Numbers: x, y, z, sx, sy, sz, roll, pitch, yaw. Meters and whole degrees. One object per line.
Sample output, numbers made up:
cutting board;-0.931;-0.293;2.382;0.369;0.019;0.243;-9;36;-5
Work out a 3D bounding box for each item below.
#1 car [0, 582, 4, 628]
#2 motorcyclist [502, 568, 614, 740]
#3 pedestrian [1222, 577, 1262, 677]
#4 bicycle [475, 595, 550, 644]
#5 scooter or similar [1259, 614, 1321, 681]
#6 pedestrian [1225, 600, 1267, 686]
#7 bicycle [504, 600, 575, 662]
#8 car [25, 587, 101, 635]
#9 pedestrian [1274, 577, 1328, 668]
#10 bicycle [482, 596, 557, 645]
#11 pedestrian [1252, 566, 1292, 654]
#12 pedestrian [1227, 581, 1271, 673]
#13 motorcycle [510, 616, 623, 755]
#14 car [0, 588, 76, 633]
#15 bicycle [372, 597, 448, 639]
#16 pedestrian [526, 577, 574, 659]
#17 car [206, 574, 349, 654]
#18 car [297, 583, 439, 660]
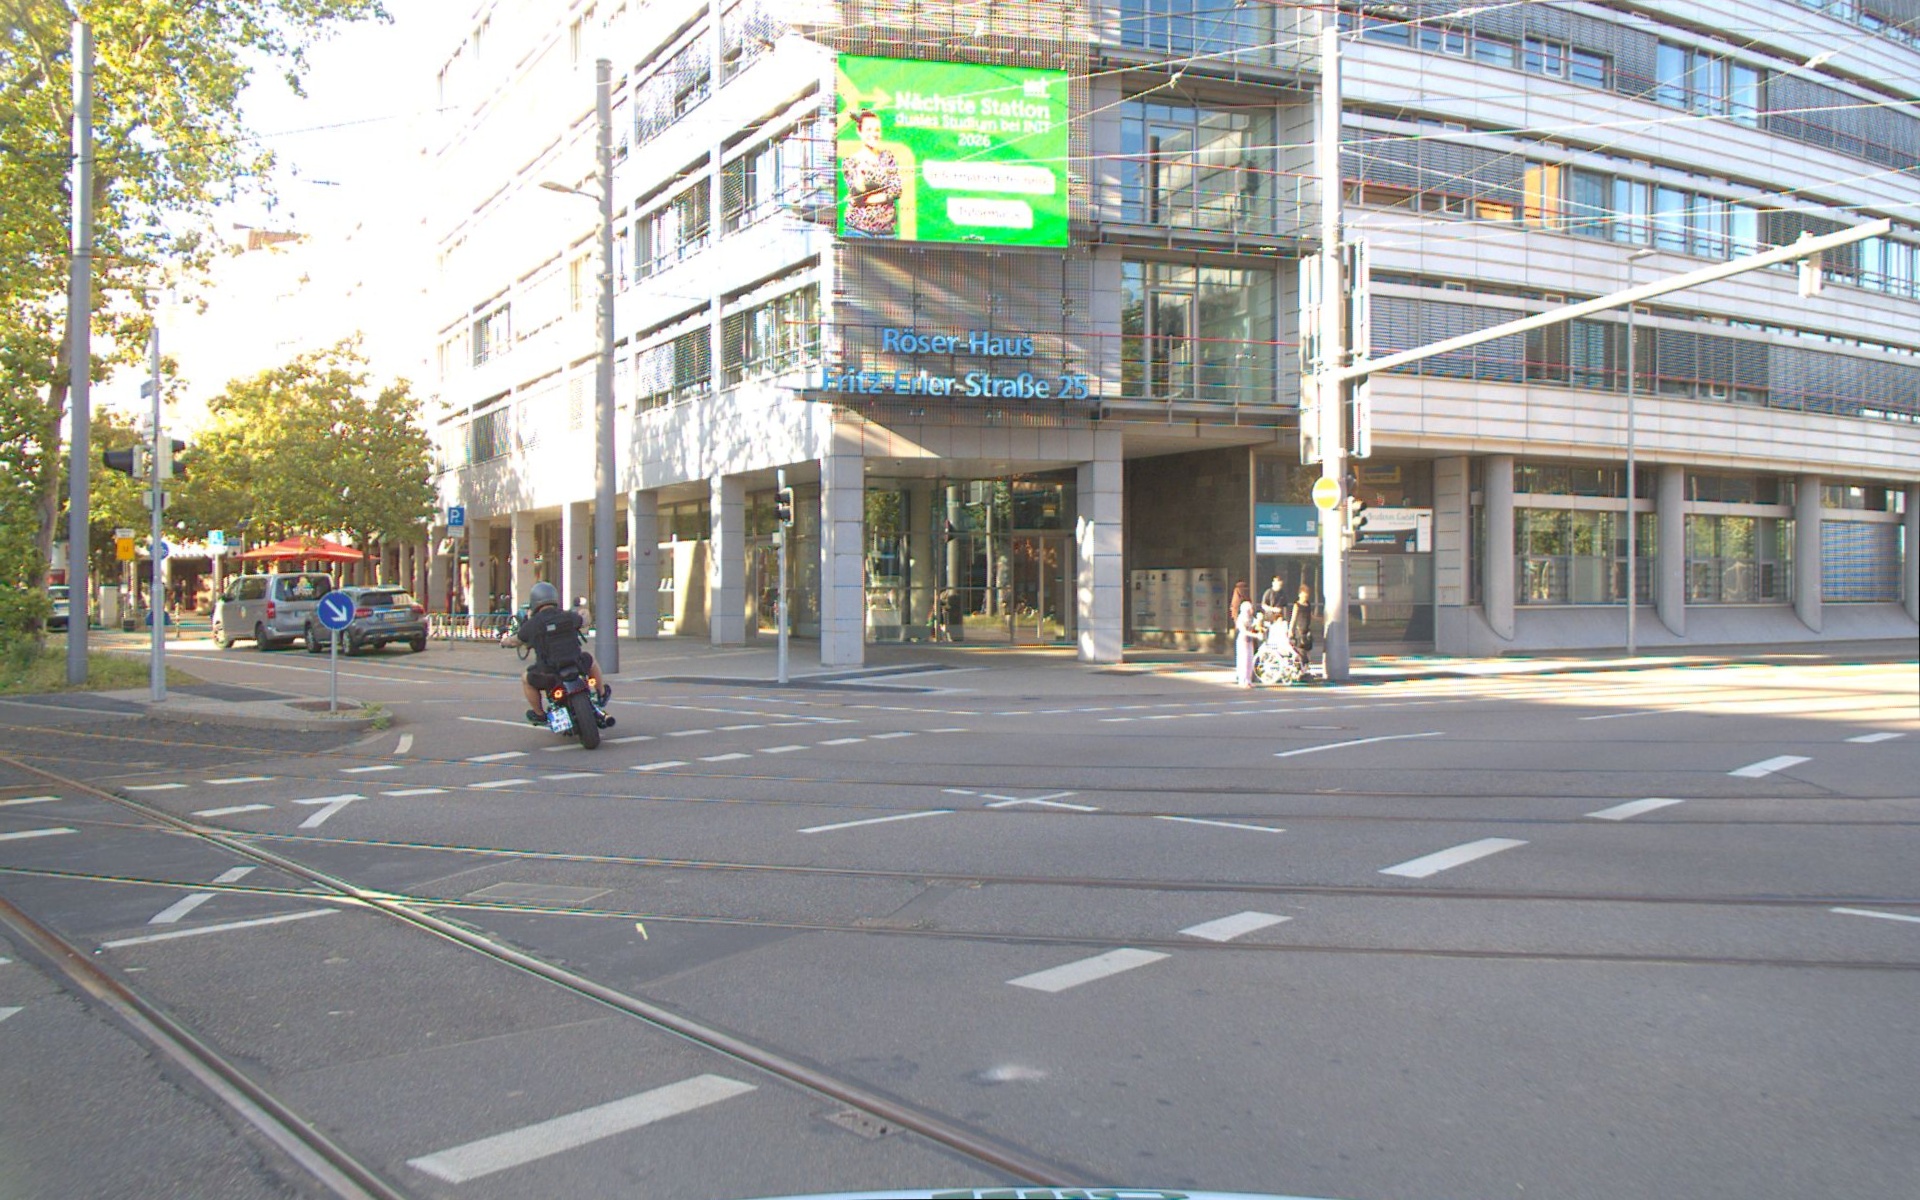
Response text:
car;-44.363;0.229;73.838;2.019;2.011;4.347;-2;2;-42
motorcyclist;-3.901;0.483;15.998;1.006;1.579;1.281;0;1;-16
pedestrian;4.965;0.461;29.109;0.623;1.738;0.582;0;1;18
bicycle;-11.608;0.497;42.958;1.819;1.171;0.464;-3;2;-37
scooter or similar;5.753;0.820;28.859;0.994;1.149;0.550;0;0;18
pedestrian;4.863;0.718;28.102;0.623;1.426;0.546;0;1;18
bicycle;-8.715;0.624;34.231;0.608;1.183;1.820;-5;4;-41
car;-33.062;0.384;60.905;1.846;1.666;3.815;-1;1;-38
pedestrian;6.236;0.404;30.276;0.647;1.645;0.715;0;0;-34
bicycle;-11.333;0.509;42.574;1.819;1.171;0.464;-3;2;-37
pedestrian;6.238;0.188;33.030;0.631;1.745;0.690;0;1;26
pedestrian;5.268;0.481;30.121;0.687;1.628;0.660;1;1;17
motorcycle;-3.836;0.772;15.999;0.989;1.145;2.314;0;2;-15
car;-36.566;0.396;65.327;1.977;1.657;4.023;-2;1;-42
bicycle;-15.175;0.488;45.645;1.859;1.120;0.728;-1;0;-45
pedestrian;-8.535;0.358;34.447;0.601;1.638;0.825;-5;4;-42
car;-17.781;0.324;42.962;1.912;1.875;4.851;-4;3;-41
car;-13.958;0.465;38.861;1.847;1.600;4.354;-4;2;-38
